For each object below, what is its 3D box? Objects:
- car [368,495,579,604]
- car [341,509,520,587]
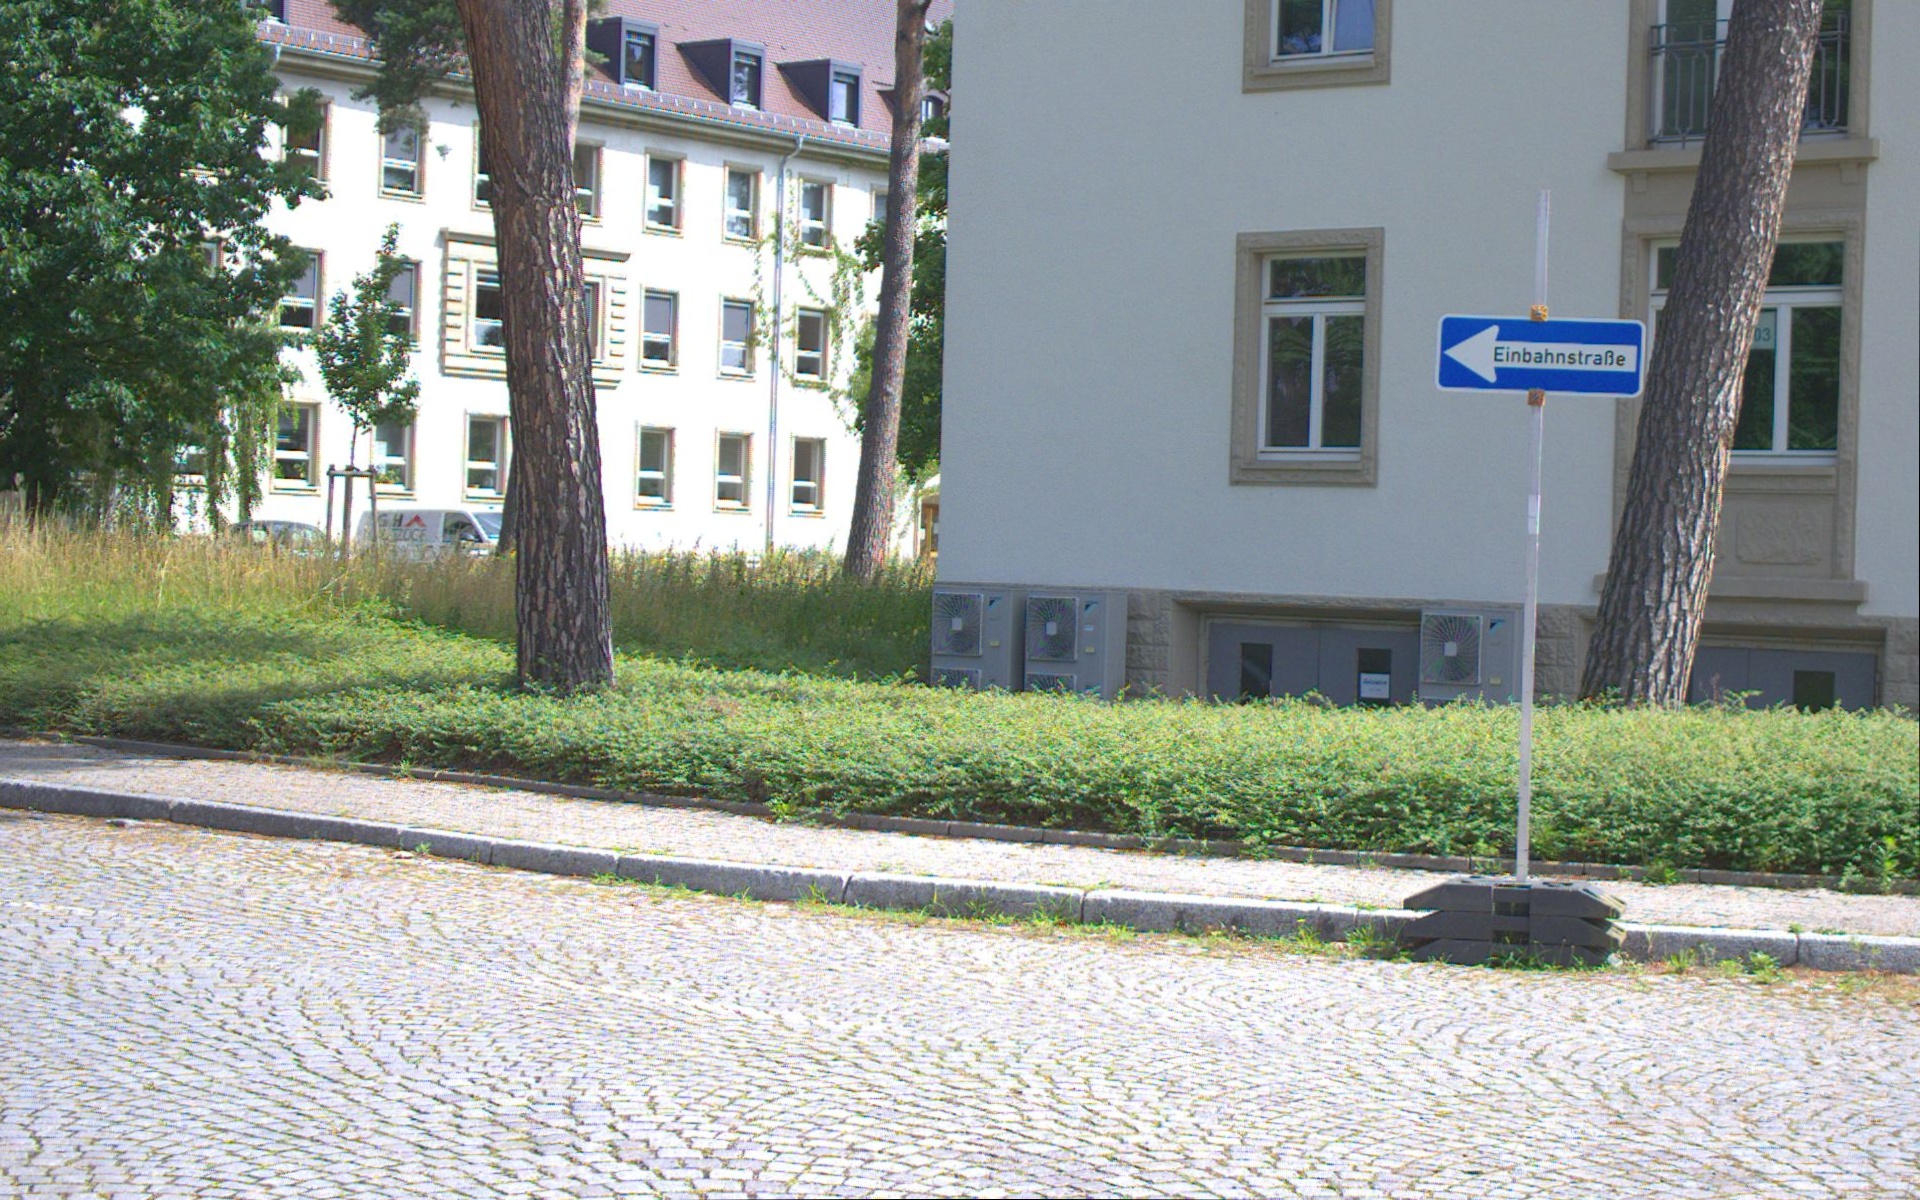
[{"bbox_3d":[-9.464,-0.983,66.742,4.069,1.985,1.709,2,1,39],"label":"car"},{"bbox_3d":[-9.861,-0.966,63.939,3.292,1.339,1.422,2,1,39],"label":"car"}]
